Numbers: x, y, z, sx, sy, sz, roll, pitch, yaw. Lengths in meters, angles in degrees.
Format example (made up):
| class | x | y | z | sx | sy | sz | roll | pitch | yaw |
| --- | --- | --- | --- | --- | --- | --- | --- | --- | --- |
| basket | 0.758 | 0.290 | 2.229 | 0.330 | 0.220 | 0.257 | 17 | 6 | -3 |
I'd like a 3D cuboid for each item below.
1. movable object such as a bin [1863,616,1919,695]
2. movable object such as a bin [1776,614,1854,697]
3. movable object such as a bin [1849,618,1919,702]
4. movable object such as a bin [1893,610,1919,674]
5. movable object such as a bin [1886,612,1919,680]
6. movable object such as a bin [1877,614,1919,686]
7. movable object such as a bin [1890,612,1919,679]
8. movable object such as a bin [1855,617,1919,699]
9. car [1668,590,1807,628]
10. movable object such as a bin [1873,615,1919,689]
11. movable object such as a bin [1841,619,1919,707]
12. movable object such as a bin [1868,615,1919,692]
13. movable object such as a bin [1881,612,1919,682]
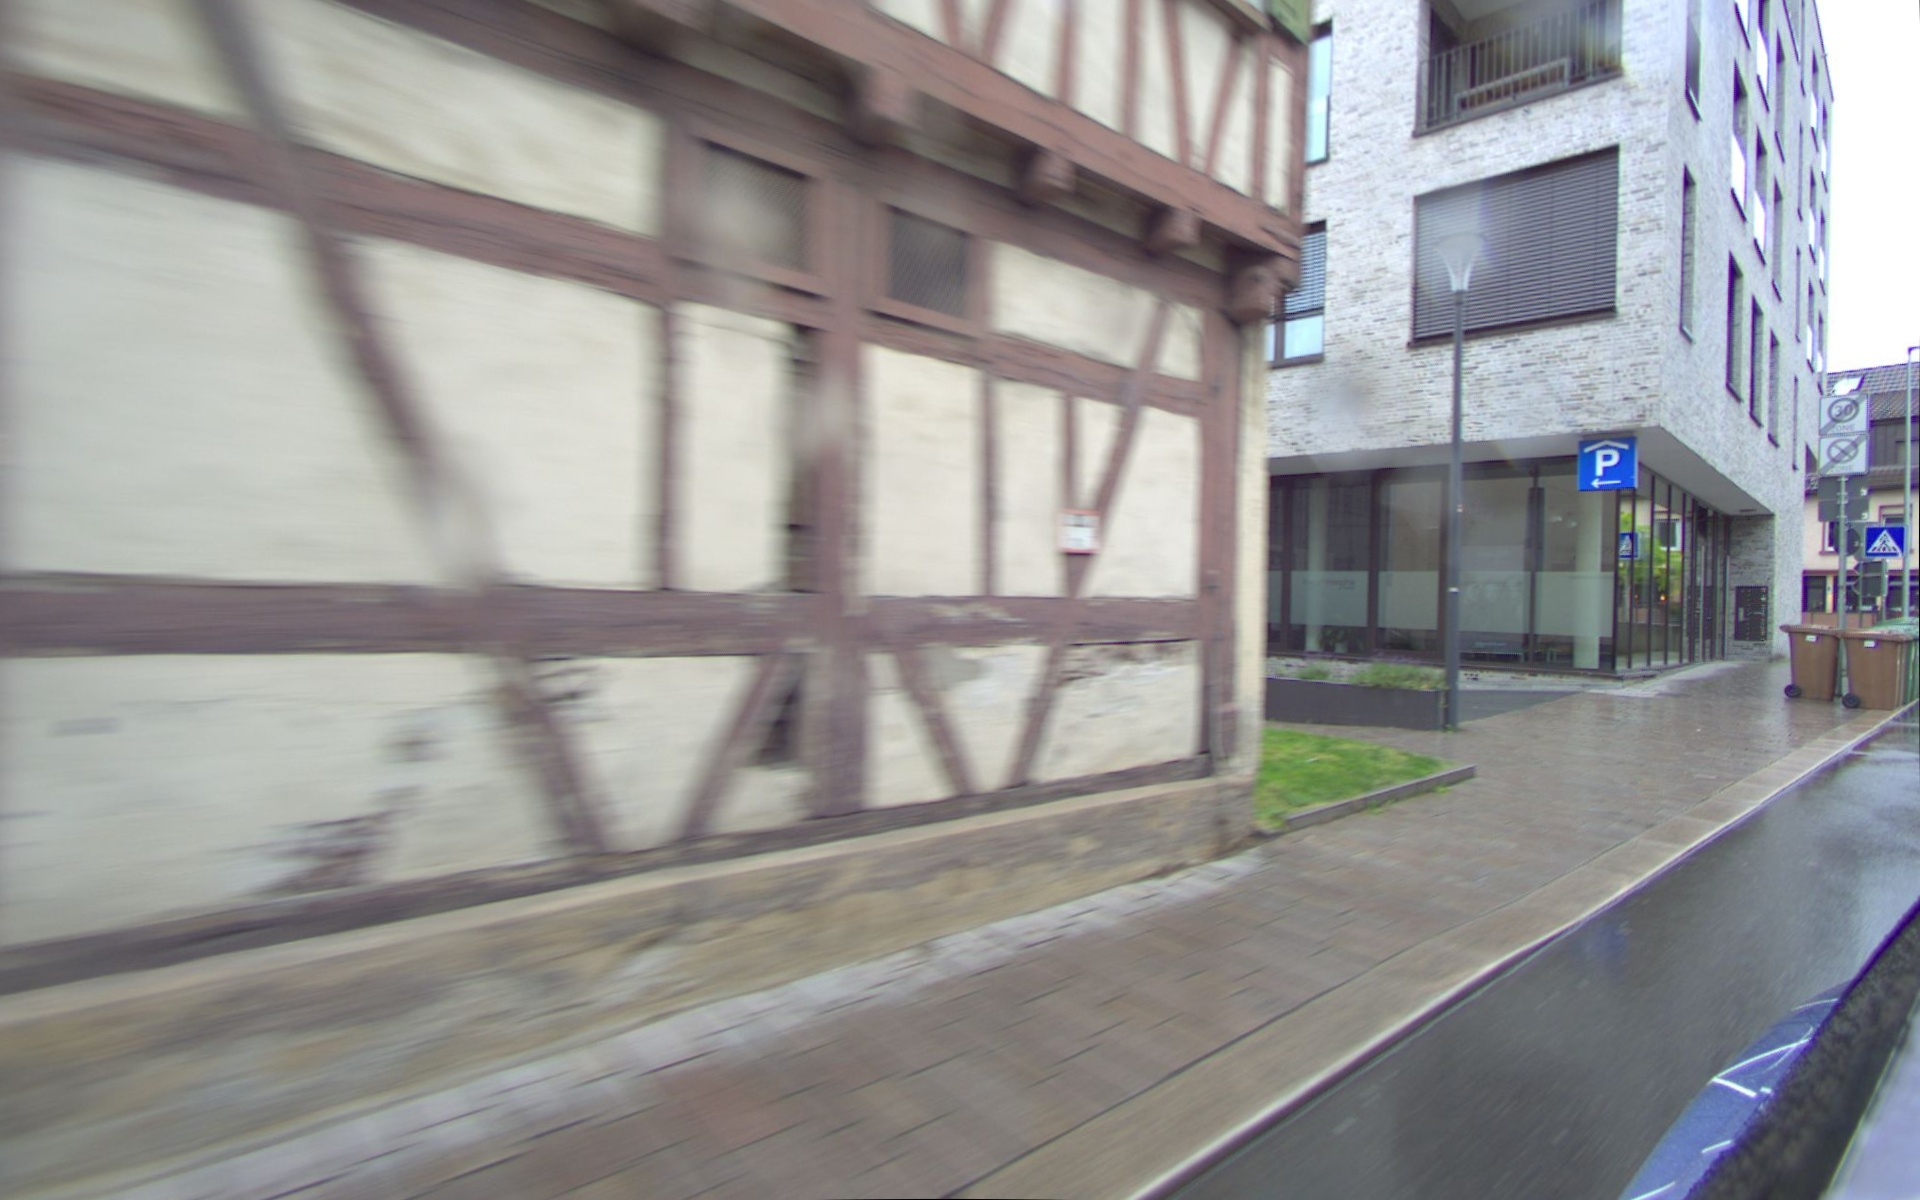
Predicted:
| class | x | y | z | sx | sy | sz | roll | pitch | yaw |
| --- | --- | --- | --- | --- | --- | --- | --- | --- | --- |
| movable object such as a bin | 14.009 | 0.811 | 15.061 | 0.571 | 1.109 | 0.767 | 0 | 2 | -42 |
| movable object such as a bin | 12.401 | 0.785 | 14.684 | 0.616 | 1.109 | 0.767 | 0 | 2 | -42 |
| movable object such as a bin | 13.111 | 0.828 | 14.277 | 0.571 | 1.109 | 0.767 | 0 | 2 | -42 |
| movable object such as a bin | 17.012 | 0.744 | 17.921 | 0.542 | 1.109 | 0.664 | 0 | 2 | -43 |
| movable object such as a bin | 16.177 | 0.782 | 17.052 | 0.571 | 1.109 | 0.767 | 0 | 2 | -42 |
| movable object such as a bin | 15.311 | 0.803 | 16.265 | 0.571 | 1.109 | 0.767 | 0 | 2 | -42 |
| movable object such as a bin | 16.590 | 0.782 | 17.453 | 0.646 | 1.109 | 0.741 | 0 | 2 | -42 |
| movable object such as a bin | 13.541 | 0.821 | 14.671 | 0.571 | 1.109 | 0.767 | 0 | 2 | -42 |
| car | 33.584 | 0.354 | 43.847 | 1.637 | 1.448 | 4.473 | 2 | 0 | -30 |
| movable object such as a bin | 14.884 | 0.811 | 15.857 | 0.571 | 1.109 | 0.767 | 0 | 2 | -42 |
| movable object such as a bin | 12.559 | 0.842 | 13.771 | 0.571 | 1.109 | 0.767 | 0 | 2 | -42 |
| movable object such as a bin | 14.438 | 0.806 | 15.458 | 0.571 | 1.109 | 0.767 | 0 | 2 | -42 |
| movable object such as a bin | 15.733 | 0.777 | 16.658 | 0.571 | 1.109 | 0.767 | 0 | 2 | -42 |
